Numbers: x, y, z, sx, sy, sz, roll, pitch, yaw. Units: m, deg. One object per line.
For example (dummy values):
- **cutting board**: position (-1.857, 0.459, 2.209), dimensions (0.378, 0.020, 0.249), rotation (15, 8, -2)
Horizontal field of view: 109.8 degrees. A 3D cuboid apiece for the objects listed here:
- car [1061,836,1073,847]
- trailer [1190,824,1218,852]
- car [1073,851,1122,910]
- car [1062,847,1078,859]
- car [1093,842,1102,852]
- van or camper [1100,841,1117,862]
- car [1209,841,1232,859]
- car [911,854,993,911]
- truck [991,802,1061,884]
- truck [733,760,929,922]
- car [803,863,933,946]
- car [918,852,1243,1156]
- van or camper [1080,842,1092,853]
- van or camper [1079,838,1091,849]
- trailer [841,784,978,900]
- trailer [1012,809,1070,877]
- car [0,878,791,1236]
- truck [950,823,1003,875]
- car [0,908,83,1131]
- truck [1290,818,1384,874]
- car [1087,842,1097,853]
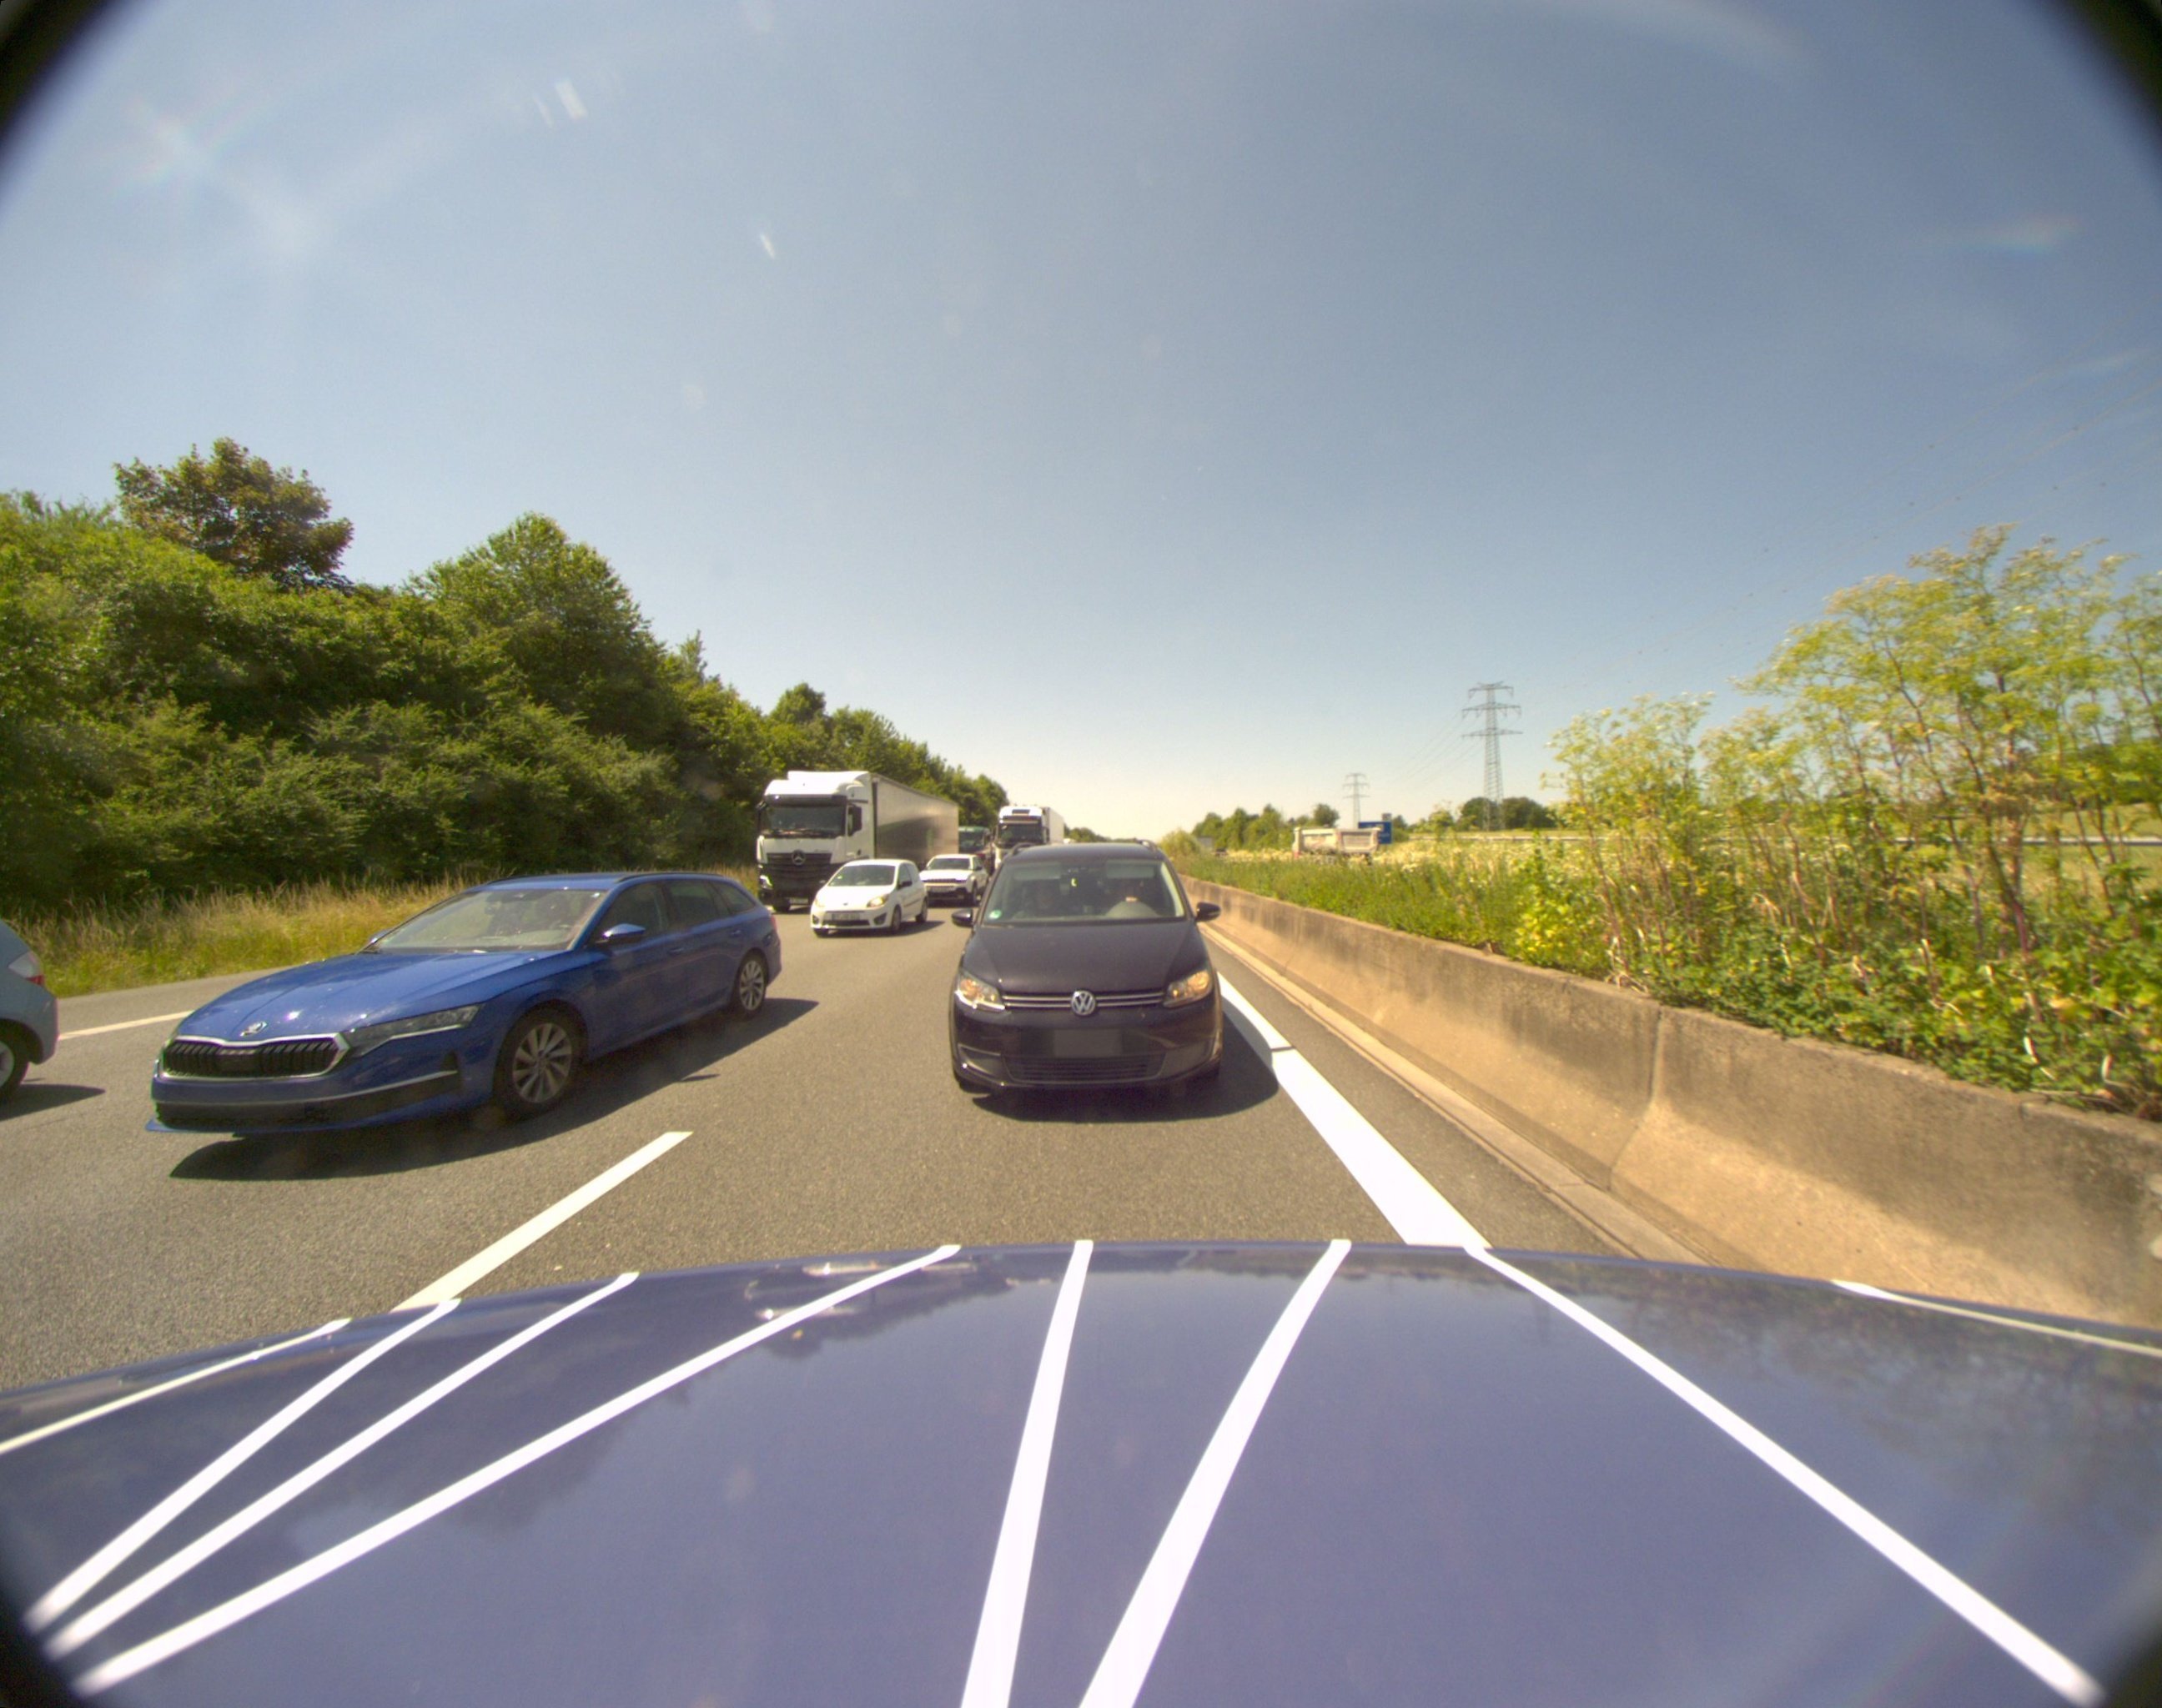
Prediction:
- **car**: position (-2.551, -2.311, 141.740), dimensions (1.998, 2.002, 4.000), rotation (-2, 1, 2)
- **trailer**: position (19.924, -2.561, 123.918), dimensions (3.019, 4.203, 10.980), rotation (-2, 1, 2)
- **car**: position (0.549, 0.776, 23.773), dimensions (1.357, 1.630, 2.994), rotation (-3, 1, 3)
- **car**: position (-1.337, -0.078, 90.625), dimensions (1.650, 1.336, 3.381), rotation (-1, 1, 3)
- **car**: position (4.072, -1.693, 183.101), dimensions (1.998, 2.302, 4.229), rotation (-2, 1, 2)
- **van or camper**: position (3.350, -0.305, 91.962), dimensions (1.956, 2.368, 4.037), rotation (-3, 1, 3)
- **car**: position (13.863, -0.418, 75.722), dimensions (1.609, 1.777, 4.026), rotation (-1, 1, 1)
- **car**: position (-3.871, 0.808, 23.423), dimensions (1.748, 1.549, 3.884), rotation (0, 1, 2)
- **truck**: position (-2.844, -0.593, 41.812), dimensions (2.750, 3.972, 8.361), rotation (-1, 1, 3)
- **truck**: position (-7.326, -0.386, 23.911), dimensions (2.879, 4.133, 8.475), rotation (-1, 1, 3)
- **car**: position (-4.348, 0.963, 16.109), dimensions (1.609, 1.426, 3.809), rotation (0, 1, 1)
- **car**: position (0.086, 0.829, 6.829), dimensions (1.758, 1.571, 5.291), rotation (-1, 1, 2)
- **van or camper**: position (0.948, -1.174, 143.989), dimensions (2.189, 2.018, 4.364), rotation (-1, 1, 3)
- **van or camper**: position (1.082, -2.708, 191.383), dimensions (2.745, 2.680, 5.363), rotation (-2, 1, 2)
- **trailer**: position (-7.001, -0.513, 33.465), dimensions (2.880, 4.133, 12.074), rotation (-2, 1, 2)
- **trailer**: position (-2.407, -0.690, 49.447), dimensions (2.776, 3.951, 9.156), rotation (-1, 1, 3)
- **car**: position (-4.085, 1.005, 5.797), dimensions (1.780, 1.408, 4.572), rotation (0, 1, 3)
- **truck**: position (-6.623, -0.339, 49.004), dimensions (2.299, 3.128, 5.675), rotation (-1, 1, 3)
- **car**: position (-8.061, 1.134, 3.512), dimensions (1.666, 1.453, 3.922), rotation (0, 1, 1)
- **truck**: position (16.907, -0.537, 51.236), dimensions (2.771, 3.269, 11.820), rotation (-1, 1, 2)
- **car**: position (2.435, -1.454, 164.189), dimensions (1.998, 2.302, 4.229), rotation (-2, 1, 1)
